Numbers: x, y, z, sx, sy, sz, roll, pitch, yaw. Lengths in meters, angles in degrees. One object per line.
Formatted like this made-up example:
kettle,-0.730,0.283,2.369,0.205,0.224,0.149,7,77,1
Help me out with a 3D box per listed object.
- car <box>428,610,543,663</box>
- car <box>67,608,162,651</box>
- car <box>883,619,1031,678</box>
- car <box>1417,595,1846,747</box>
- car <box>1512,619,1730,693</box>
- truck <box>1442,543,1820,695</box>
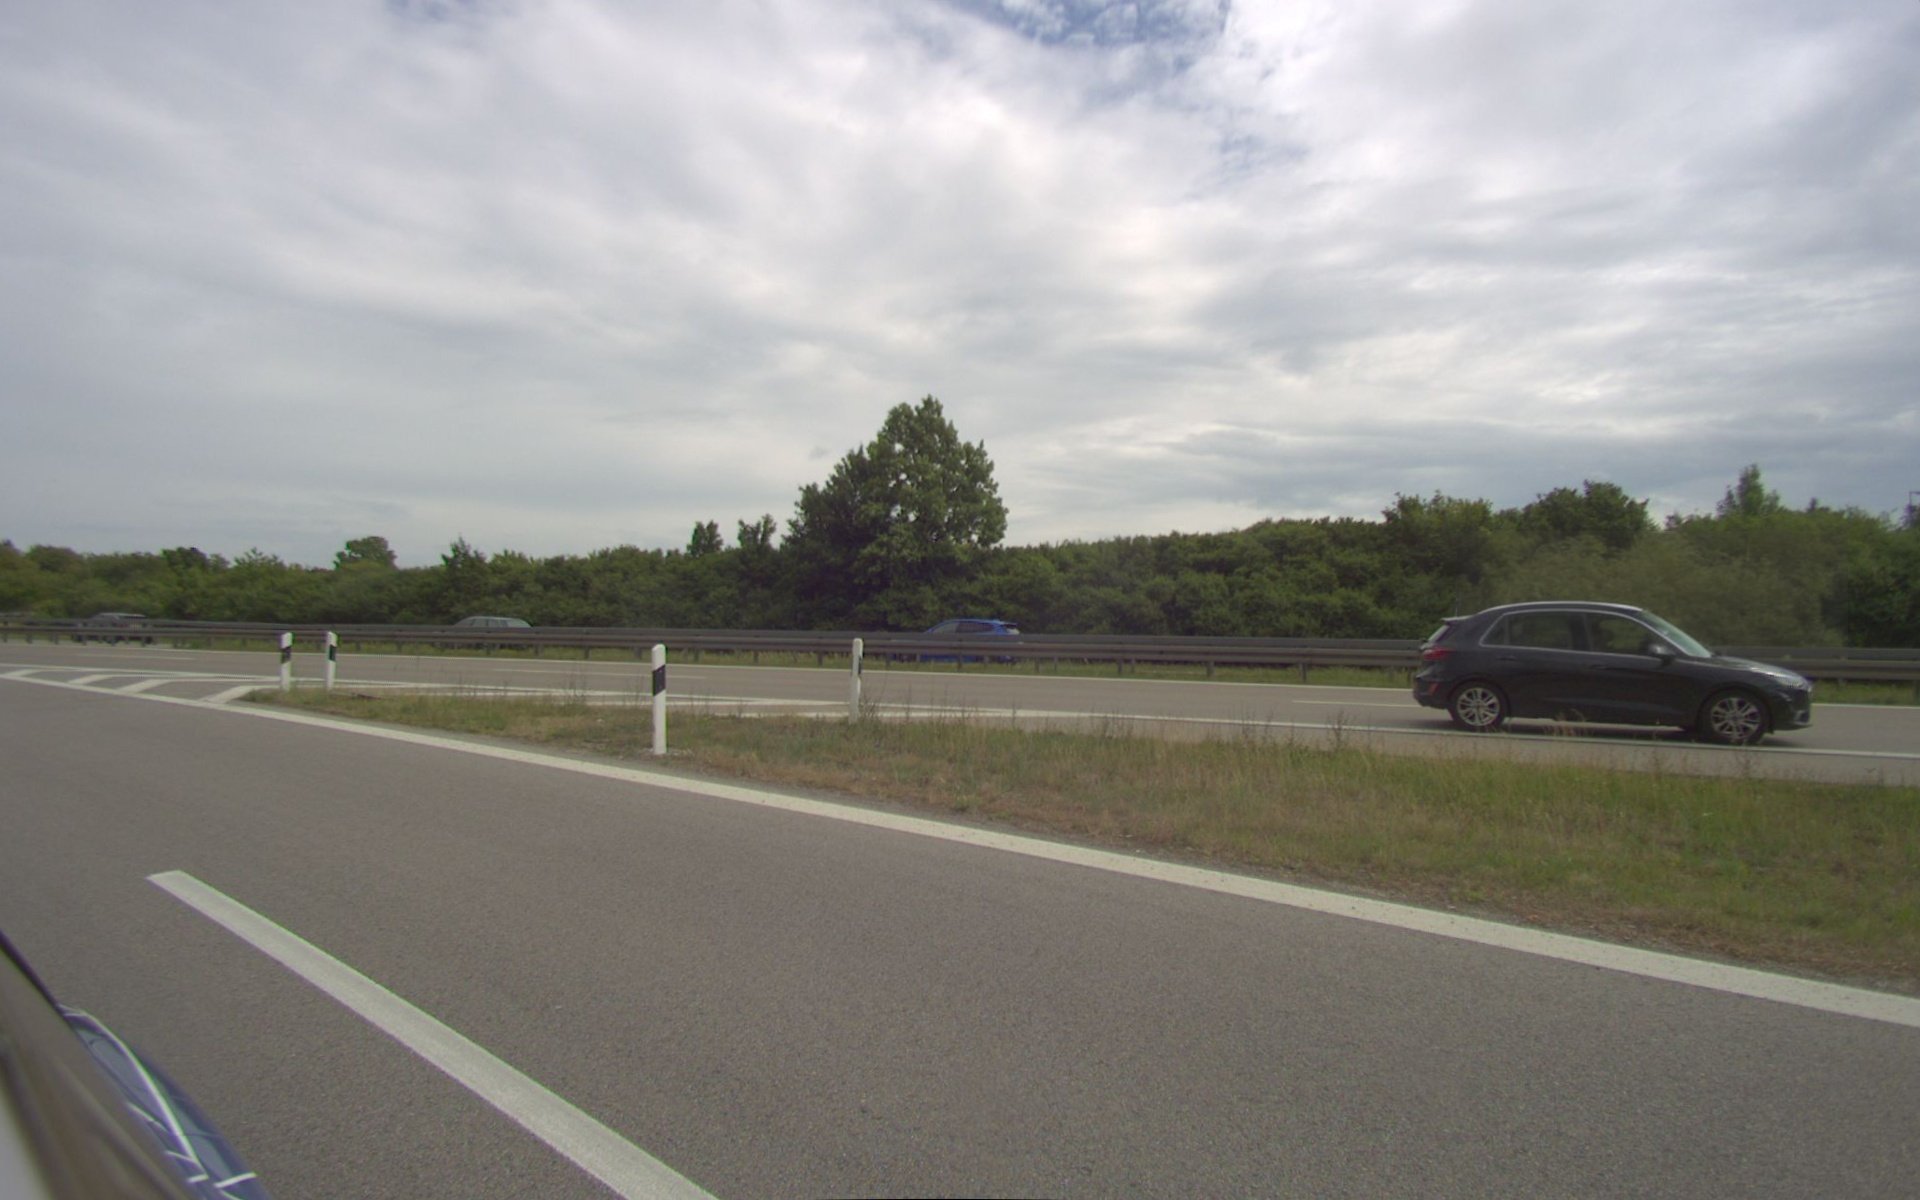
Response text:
car,-18.822,1.414,40.164,4.193,2.029,1.915,0,-1,25
car,-40.881,1.398,48.935,4.193,2.029,1.915,0,-1,25
car,-0.072,1.399,30.113,3.976,1.641,1.984,0,-1,24
car,7.642,0.747,12.031,3.975,1.567,1.702,0,-1,24
car,15.294,1.244,23.688,3.974,1.586,1.864,0,-1,23
truck,17.675,0.486,27.494,8.148,3.674,2.745,0,-1,24
